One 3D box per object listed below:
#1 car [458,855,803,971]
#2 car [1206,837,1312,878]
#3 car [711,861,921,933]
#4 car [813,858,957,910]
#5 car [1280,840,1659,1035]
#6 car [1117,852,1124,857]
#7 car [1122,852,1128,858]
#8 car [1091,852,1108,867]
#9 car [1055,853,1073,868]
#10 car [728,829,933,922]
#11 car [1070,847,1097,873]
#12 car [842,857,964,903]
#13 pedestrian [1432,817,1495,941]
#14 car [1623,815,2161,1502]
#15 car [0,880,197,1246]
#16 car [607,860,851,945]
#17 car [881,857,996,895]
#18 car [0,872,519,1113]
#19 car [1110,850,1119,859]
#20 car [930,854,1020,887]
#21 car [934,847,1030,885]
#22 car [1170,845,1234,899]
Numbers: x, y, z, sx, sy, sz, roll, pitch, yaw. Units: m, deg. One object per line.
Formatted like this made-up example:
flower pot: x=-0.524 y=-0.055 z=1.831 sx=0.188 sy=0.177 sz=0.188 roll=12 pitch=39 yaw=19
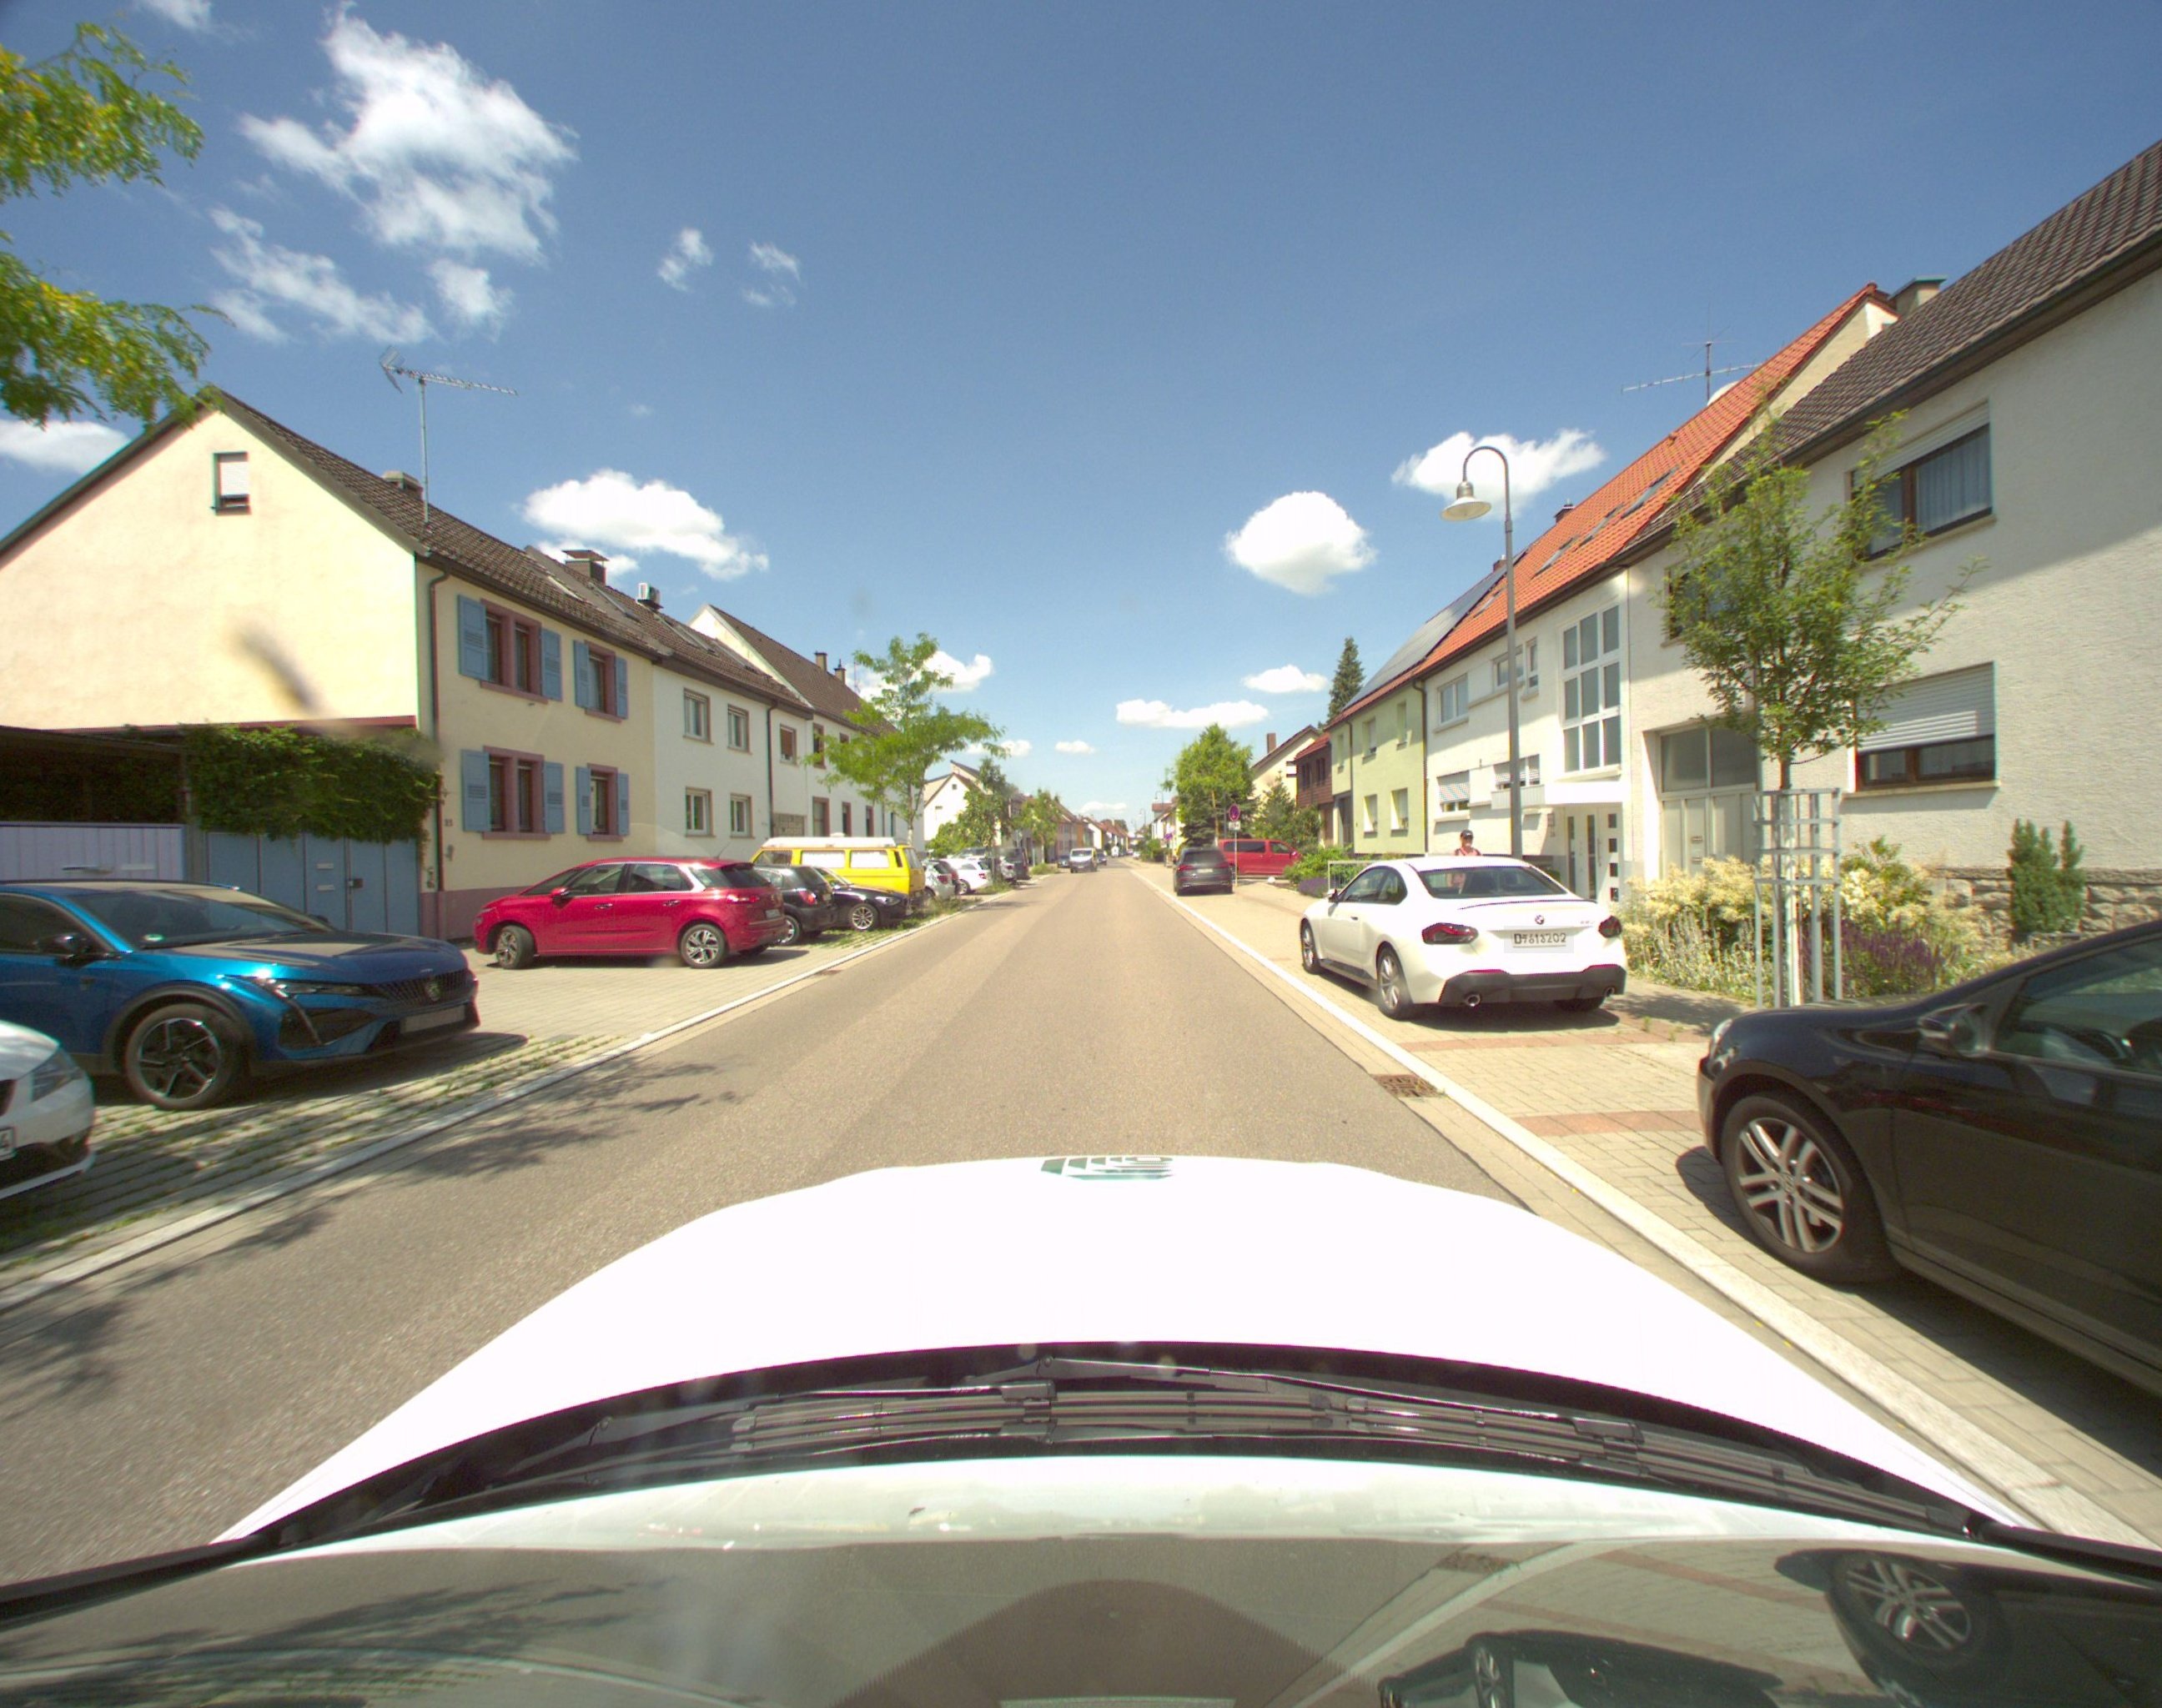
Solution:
car: x=-6.712 y=0.838 z=12.477 sx=4.238 sy=1.611 sz=1.843 roll=0 pitch=0 yaw=1
car: x=8.337 y=0.180 z=38.416 sx=4.603 sy=1.893 sz=2.020 roll=0 pitch=-1 yaw=0
car: x=-5.700 y=0.910 z=17.835 sx=3.995 sy=1.459 sz=1.756 roll=0 pitch=0 yaw=1
car: x=-5.908 y=0.876 z=24.932 sx=4.067 sy=1.468 sz=1.749 roll=0 pitch=0 yaw=-7
car: x=3.565 y=0.648 z=8.566 sx=1.826 sy=1.465 sz=4.519 roll=-1 pitch=0 yaw=0
car: x=11.135 y=0.170 z=228.169 sx=1.683 sy=1.504 sz=3.777 roll=0 pitch=-1 yaw=6
car: x=12.736 y=0.244 z=235.604 sx=1.683 sy=1.660 sz=3.777 roll=0 pitch=-1 yaw=6
car: x=2.010 y=0.589 z=90.295 sx=1.756 sy=1.523 sz=4.050 roll=-3 pitch=0 yaw=1
car: x=-1.771 y=0.643 z=87.399 sx=1.811 sy=1.433 sz=4.139 roll=2 pitch=1 yaw=-1
car: x=-6.175 y=0.518 z=20.453 sx=4.491 sy=2.177 sz=1.926 roll=0 pitch=0 yaw=1
car: x=0.251 y=0.522 z=66.184 sx=2.015 sy=1.950 sz=4.899 roll=-2 pitch=-1 yaw=1
car: x=-5.992 y=0.860 z=27.768 sx=3.875 sy=1.468 sz=1.655 roll=0 pitch=-1 yaw=-7
pedestrian: x=5.606 y=0.356 z=11.964 sx=0.555 sy=1.749 sz=0.673 roll=-2 pitch=-1 yaw=2
car: x=3.265 y=0.660 z=1.658 sx=1.760 sy=1.529 sz=4.009 roll=-1 pitch=0 yaw=2
car: x=-6.469 y=0.887 z=3.170 sx=4.042 sy=1.478 sz=1.775 roll=0 pitch=0 yaw=-1
car: x=-6.454 y=0.860 z=15.264 sx=3.780 sy=1.459 sz=1.754 roll=0 pitch=0 yaw=-1
car: x=-5.715 y=0.875 z=32.924 sx=4.276 sy=1.468 sz=1.775 roll=-1 pitch=-1 yaw=3
car: x=-7.026 y=0.909 z=6.052 sx=4.392 sy=1.478 sz=1.774 roll=0 pitch=0 yaw=-2
car: x=8.553 y=0.067 z=206.155 sx=2.035 sy=2.312 sz=3.777 roll=0 pitch=-1 yaw=6
car: x=-5.125 y=0.795 z=39.796 sx=4.172 sy=1.569 sz=1.772 roll=0 pitch=-1 yaw=-2
car: x=-5.090 y=0.609 z=42.432 sx=4.682 sy=1.923 sz=1.938 roll=0 pitch=-1 yaw=1
car: x=4.187 y=0.554 z=28.787 sx=1.856 sy=1.635 sz=4.451 roll=-4 pitch=0 yaw=4
